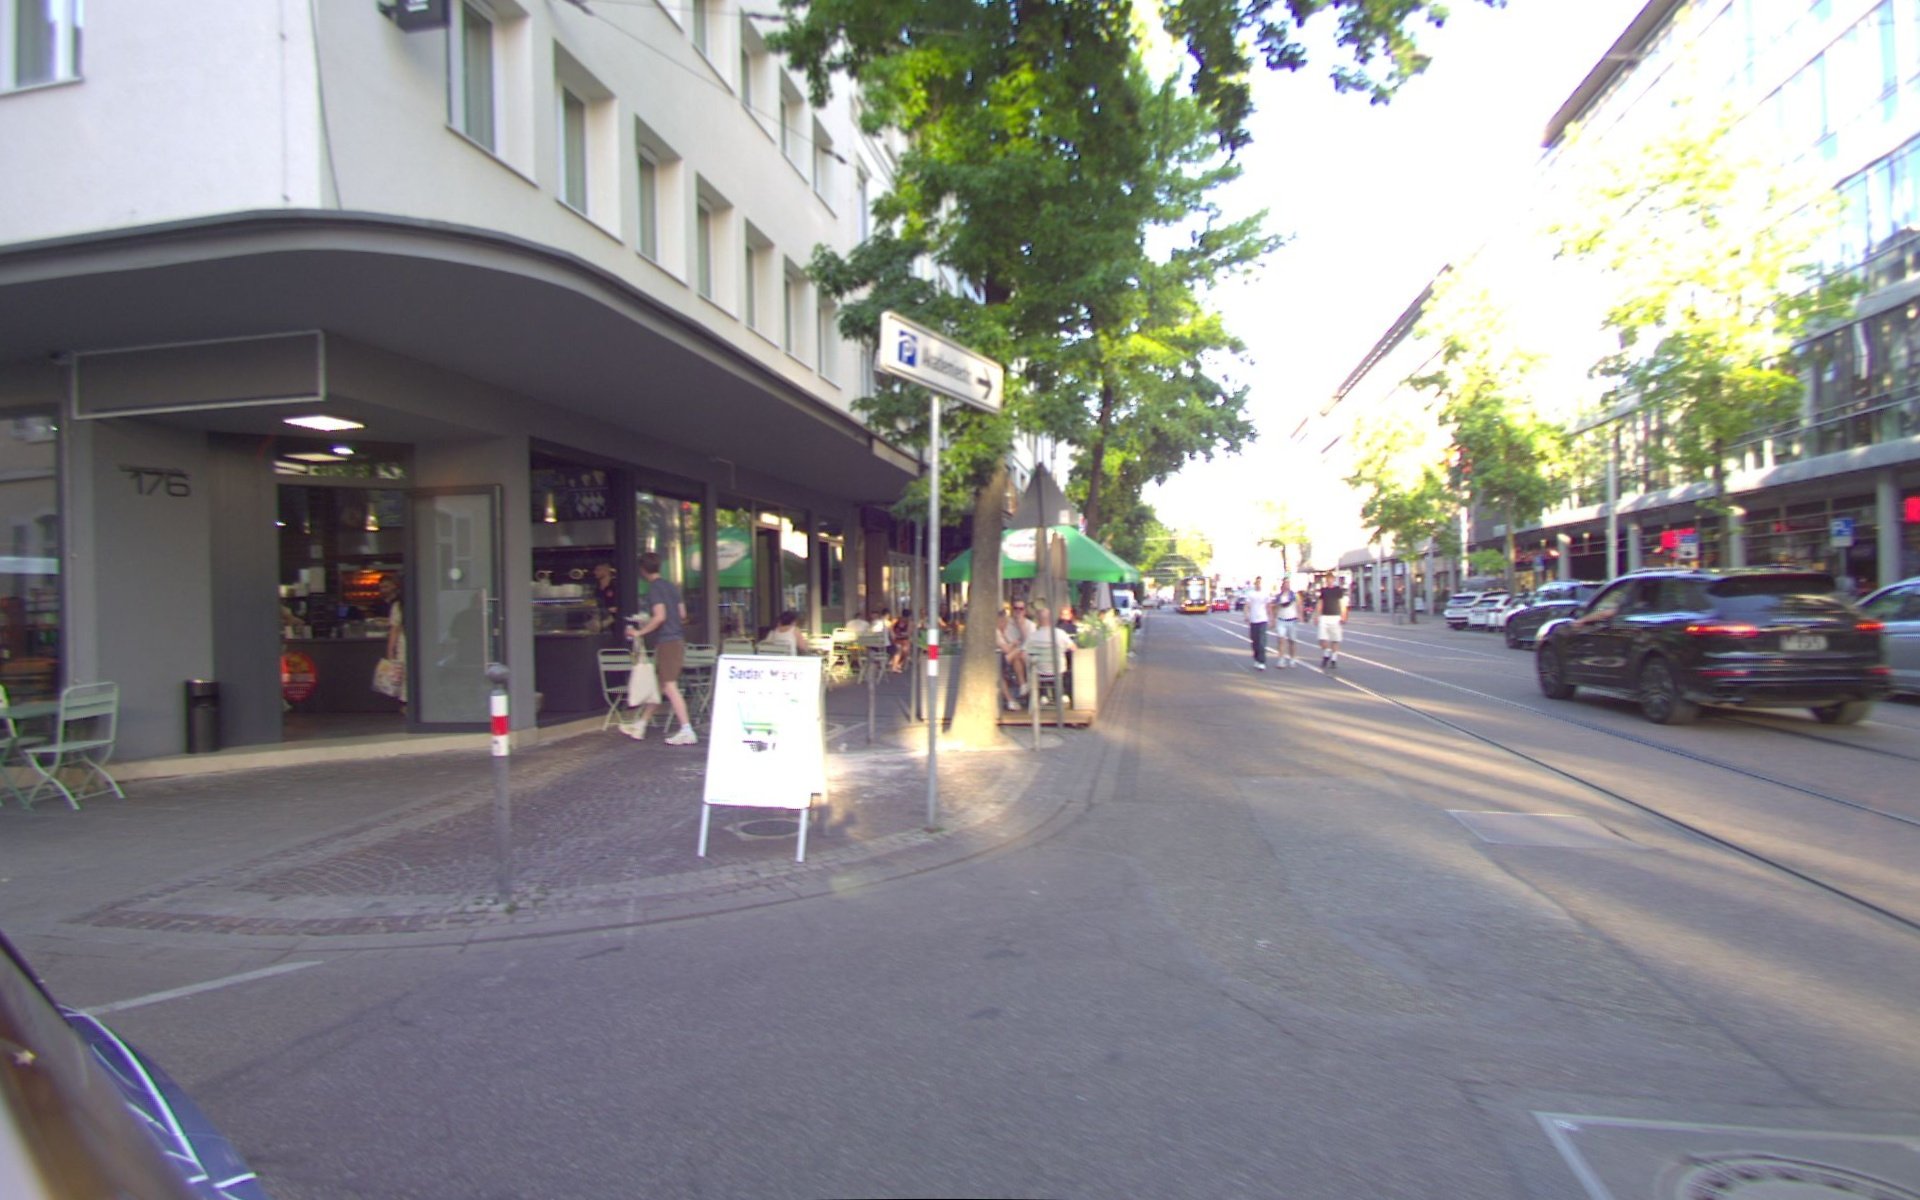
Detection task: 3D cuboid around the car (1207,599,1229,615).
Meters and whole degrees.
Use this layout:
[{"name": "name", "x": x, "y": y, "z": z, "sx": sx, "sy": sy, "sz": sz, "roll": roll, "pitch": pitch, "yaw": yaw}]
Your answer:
[{"name": "car", "x": 26.240, "y": 0.669, "z": 103.019, "sx": 1.654, "sy": 1.553, "sz": 3.493, "roll": -2, "pitch": 0, "yaw": 8}]

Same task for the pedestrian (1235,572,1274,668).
[{"name": "pedestrian", "x": 6.092, "y": 0.409, "z": 20.912, "sx": 0.707, "sy": 1.916, "sz": 1.063, "roll": -2, "pitch": -2, "yaw": 18}]

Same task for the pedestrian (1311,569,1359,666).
[{"name": "pedestrian", "x": 7.630, "y": 0.365, "z": 20.628, "sx": 0.820, "sy": 1.916, "sz": 1.062, "roll": -2, "pitch": -2, "yaw": 18}]

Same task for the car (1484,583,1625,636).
[{"name": "car", "x": 20.773, "y": 0.334, "z": 35.402, "sx": 3.931, "sy": 1.517, "sz": 1.956, "roll": -4, "pitch": -2, "yaw": -15}]

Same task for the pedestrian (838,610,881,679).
[{"name": "pedestrian", "x": -1.927, "y": 0.853, "z": 19.518, "sx": 0.646, "sy": 1.269, "sz": 0.672, "roll": -2, "pitch": 1, "yaw": 8}]

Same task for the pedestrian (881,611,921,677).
[{"name": "pedestrian", "x": -1.188, "y": 0.878, "z": 20.416, "sx": 0.646, "sy": 1.269, "sz": 0.672, "roll": -2, "pitch": 1, "yaw": 8}]

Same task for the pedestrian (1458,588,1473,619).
[{"name": "pedestrian", "x": 30.165, "y": 0.220, "z": 60.368, "sx": 0.590, "sy": 1.854, "sz": 0.611, "roll": -2, "pitch": -1, "yaw": 9}]

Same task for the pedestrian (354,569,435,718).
[{"name": "pedestrian", "x": -6.276, "y": 0.471, "z": 11.231, "sx": 0.741, "sy": 1.584, "sz": 0.603, "roll": 0, "pitch": -2, "yaw": -33}]

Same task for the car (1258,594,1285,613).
[{"name": "car", "x": 27.581, "y": 0.320, "z": 89.736, "sx": 1.654, "sy": 1.553, "sz": 3.493, "roll": -2, "pitch": 0, "yaw": 8}]

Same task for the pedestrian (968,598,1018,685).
[{"name": "pedestrian", "x": 0.549, "y": 0.679, "z": 16.684, "sx": 0.723, "sy": 1.368, "sz": 0.712, "roll": -2, "pitch": 1, "yaw": 8}]

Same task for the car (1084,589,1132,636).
[{"name": "car", "x": 6.543, "y": 0.577, "z": 44.489, "sx": 1.978, "sy": 1.929, "sz": 3.987, "roll": -2, "pitch": -1, "yaw": 10}]

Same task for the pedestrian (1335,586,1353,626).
[{"name": "pedestrian", "x": 19.868, "y": 0.302, "z": 52.381, "sx": 0.641, "sy": 2.029, "sz": 0.793, "roll": -1, "pitch": -1, "yaw": 9}]

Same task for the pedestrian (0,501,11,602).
[{"name": "pedestrian", "x": -21.865, "y": -1.043, "z": 21.718, "sx": 1.969, "sy": 2.029, "sz": 4.006, "roll": 0, "pitch": -2, "yaw": -40}]

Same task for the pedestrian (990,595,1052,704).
[{"name": "pedestrian", "x": 0.810, "y": 0.640, "z": 13.365, "sx": 0.723, "sy": 1.368, "sz": 0.712, "roll": -2, "pitch": 1, "yaw": 8}]

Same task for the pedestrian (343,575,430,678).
[{"name": "pedestrian", "x": -7.315, "y": 0.327, "z": 12.930, "sx": 0.646, "sy": 1.269, "sz": 0.672, "roll": -2, "pitch": 1, "yaw": 8}]

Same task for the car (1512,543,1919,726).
[{"name": "car", "x": 8.719, "y": 0.340, "z": 12.205, "sx": 1.999, "sy": 1.739, "sz": 4.933, "roll": -1, "pitch": 0, "yaw": 9}]

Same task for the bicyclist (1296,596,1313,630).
[{"name": "bicyclist", "x": 18.808, "y": 0.704, "z": 55.294, "sx": 0.647, "sy": 1.869, "sz": 0.989, "roll": -1, "pitch": -1, "yaw": 8}]

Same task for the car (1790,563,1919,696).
[{"name": "car", "x": 12.503, "y": 0.357, "z": 12.270, "sx": 1.807, "sy": 1.605, "sz": 4.273, "roll": 0, "pitch": 0, "yaw": 8}]

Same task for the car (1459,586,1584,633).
[{"name": "car", "x": 21.995, "y": 0.380, "z": 39.677, "sx": 3.931, "sy": 1.517, "sz": 1.956, "roll": -4, "pitch": -2, "yaw": -15}]

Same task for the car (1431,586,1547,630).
[{"name": "car", "x": 22.140, "y": 0.353, "z": 42.405, "sx": 3.931, "sy": 1.517, "sz": 1.956, "roll": -4, "pitch": -2, "yaw": -15}]

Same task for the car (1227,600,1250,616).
[{"name": "car", "x": 30.529, "y": 0.927, "z": 111.081, "sx": 1.907, "sy": 1.653, "sz": 3.713, "roll": -2, "pitch": -1, "yaw": 7}]

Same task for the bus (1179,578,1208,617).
[{"name": "bus", "x": 21.779, "y": -0.202, "z": 94.855, "sx": 1.978, "sy": 3.443, "sz": 8.549, "roll": -2, "pitch": -1, "yaw": 9}]

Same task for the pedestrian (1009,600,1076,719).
[{"name": "pedestrian", "x": 1.011, "y": 0.703, "z": 12.272, "sx": 0.723, "sy": 1.368, "sz": 0.712, "roll": -2, "pitch": 1, "yaw": 8}]

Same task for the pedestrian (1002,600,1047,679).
[{"name": "pedestrian", "x": 1.184, "y": 0.707, "z": 18.437, "sx": 0.723, "sy": 1.368, "sz": 0.712, "roll": -2, "pitch": 1, "yaw": 8}]

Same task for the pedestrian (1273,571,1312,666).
[{"name": "pedestrian", "x": 6.899, "y": 0.393, "z": 21.028, "sx": 0.707, "sy": 1.916, "sz": 1.063, "roll": -2, "pitch": -2, "yaw": 18}]

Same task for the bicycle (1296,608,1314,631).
[{"name": "bicycle", "x": 18.809, "y": 1.058, "z": 55.222, "sx": 0.506, "sy": 1.159, "sz": 2.051, "roll": -2, "pitch": 0, "yaw": 8}]

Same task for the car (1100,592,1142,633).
[{"name": "car", "x": 8.136, "y": 0.657, "z": 51.076, "sx": 1.978, "sy": 1.929, "sz": 3.987, "roll": -2, "pitch": -1, "yaw": 10}]

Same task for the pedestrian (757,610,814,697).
[{"name": "pedestrian", "x": -2.659, "y": 0.807, "z": 15.444, "sx": 0.646, "sy": 1.269, "sz": 0.672, "roll": -2, "pitch": 1, "yaw": 8}]

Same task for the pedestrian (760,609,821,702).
[{"name": "pedestrian", "x": -2.424, "y": 0.779, "z": 14.535, "sx": 0.646, "sy": 1.269, "sz": 0.672, "roll": -2, "pitch": 1, "yaw": 8}]

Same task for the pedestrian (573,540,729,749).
[{"name": "pedestrian", "x": -3.051, "y": 0.427, "z": 10.022, "sx": 1.066, "sy": 1.916, "sz": 1.018, "roll": -2, "pitch": -2, "yaw": 33}]

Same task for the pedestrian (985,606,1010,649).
[{"name": "pedestrian", "x": 1.165, "y": 0.835, "z": 31.344, "sx": 0.646, "sy": 1.269, "sz": 0.672, "roll": -2, "pitch": 1, "yaw": 8}]

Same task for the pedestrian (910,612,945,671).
[{"name": "pedestrian", "x": -0.734, "y": 0.926, "z": 22.796, "sx": 0.646, "sy": 1.269, "sz": 0.672, "roll": -2, "pitch": 1, "yaw": 8}]

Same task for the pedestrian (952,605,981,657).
[{"name": "pedestrian", "x": 0.173, "y": 0.789, "z": 25.985, "sx": 0.646, "sy": 1.269, "sz": 0.672, "roll": -2, "pitch": 1, "yaw": 8}]

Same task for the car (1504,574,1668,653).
[{"name": "car", "x": 15.054, "y": 0.296, "z": 24.634, "sx": 1.847, "sy": 1.750, "sz": 4.273, "roll": 0, "pitch": 0, "yaw": 8}]

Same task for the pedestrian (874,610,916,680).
[{"name": "pedestrian", "x": -1.247, "y": 0.854, "z": 19.429, "sx": 0.646, "sy": 1.269, "sz": 0.672, "roll": -2, "pitch": 1, "yaw": 8}]

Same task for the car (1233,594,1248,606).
[{"name": "car", "x": 37.642, "y": 0.004, "z": 135.780, "sx": 1.656, "sy": 1.553, "sz": 3.490, "roll": -2, "pitch": 0, "yaw": 11}]
